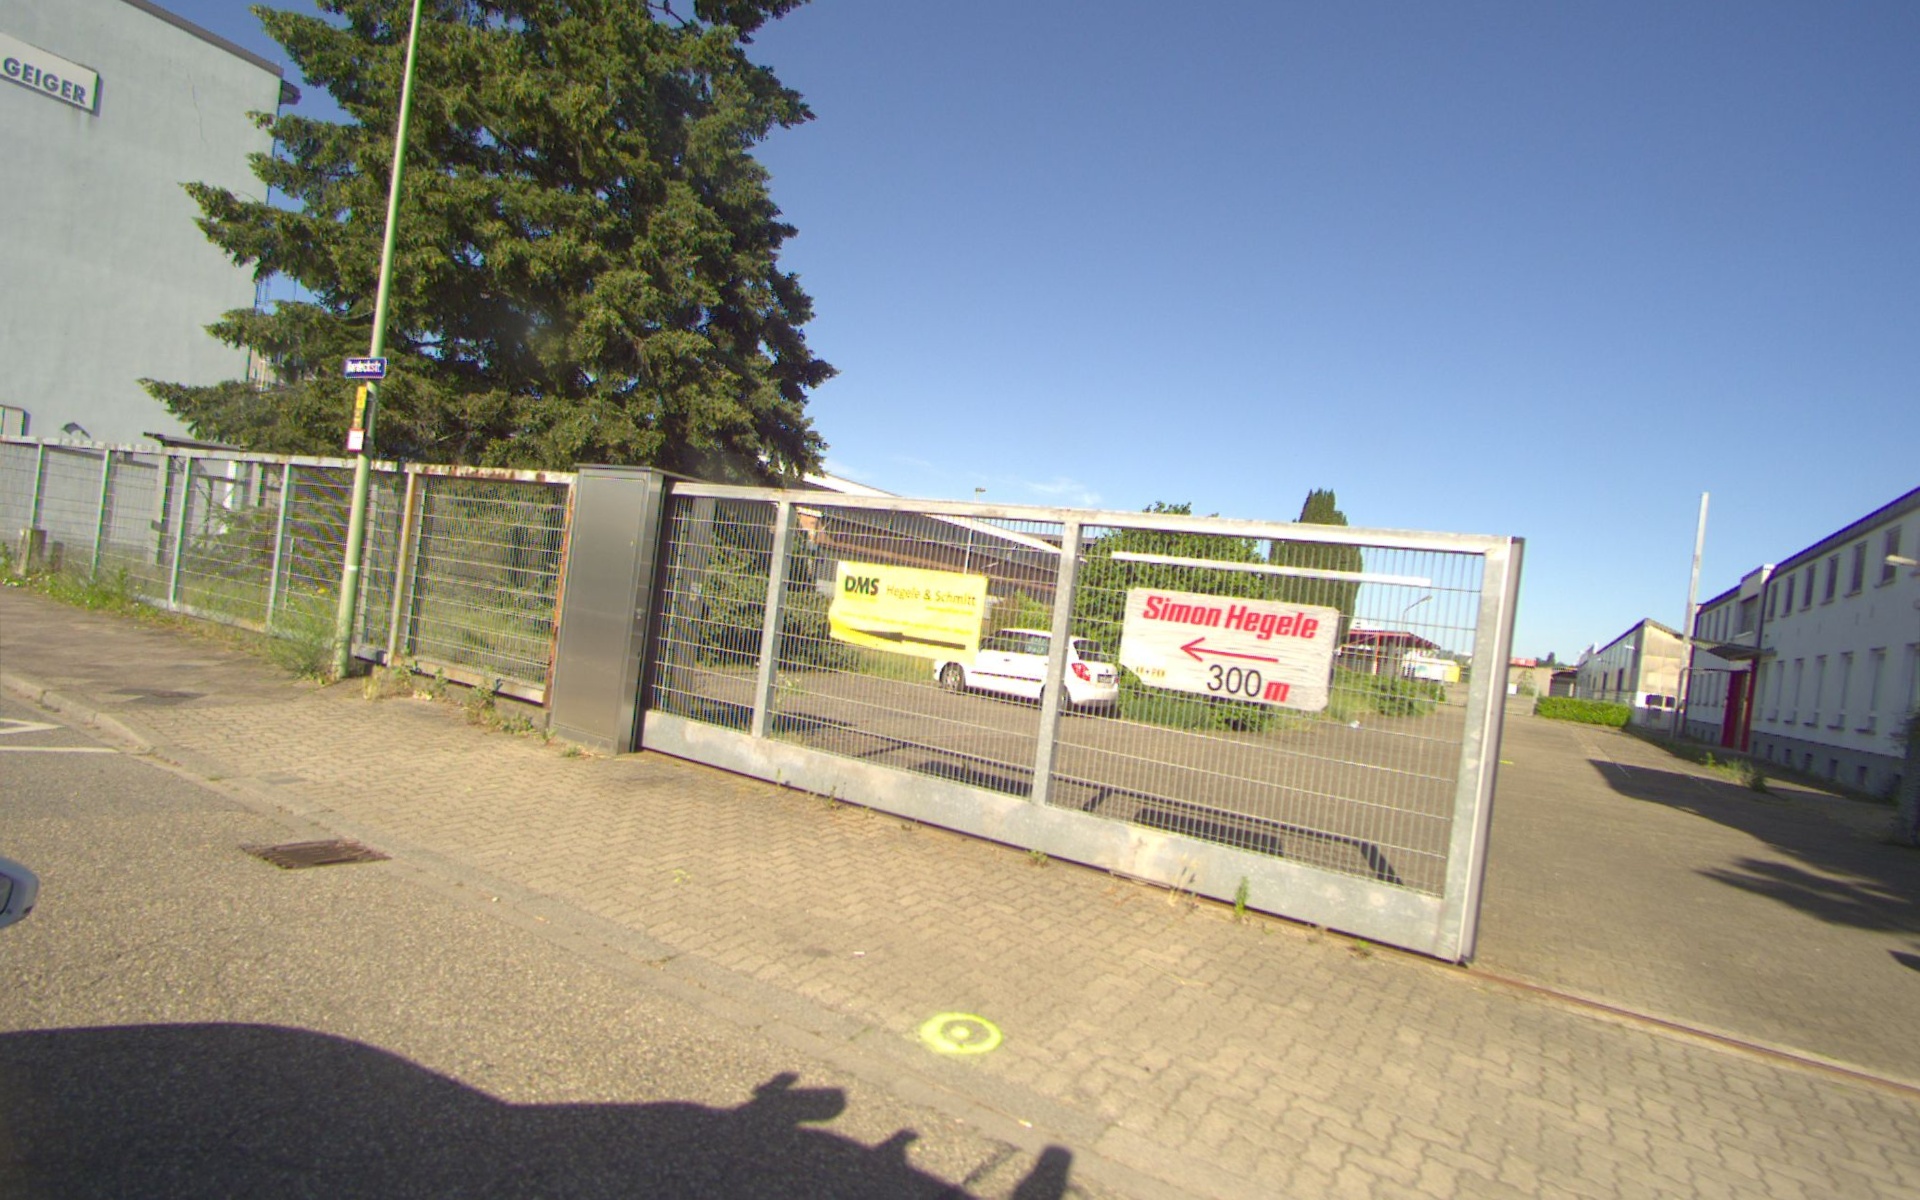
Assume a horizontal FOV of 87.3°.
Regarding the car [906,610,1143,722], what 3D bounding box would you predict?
[{"bbox_3d":[1.224,1.280,20.018,4.229,1.583,1.864,7,-1,36],"label":"car"}]
